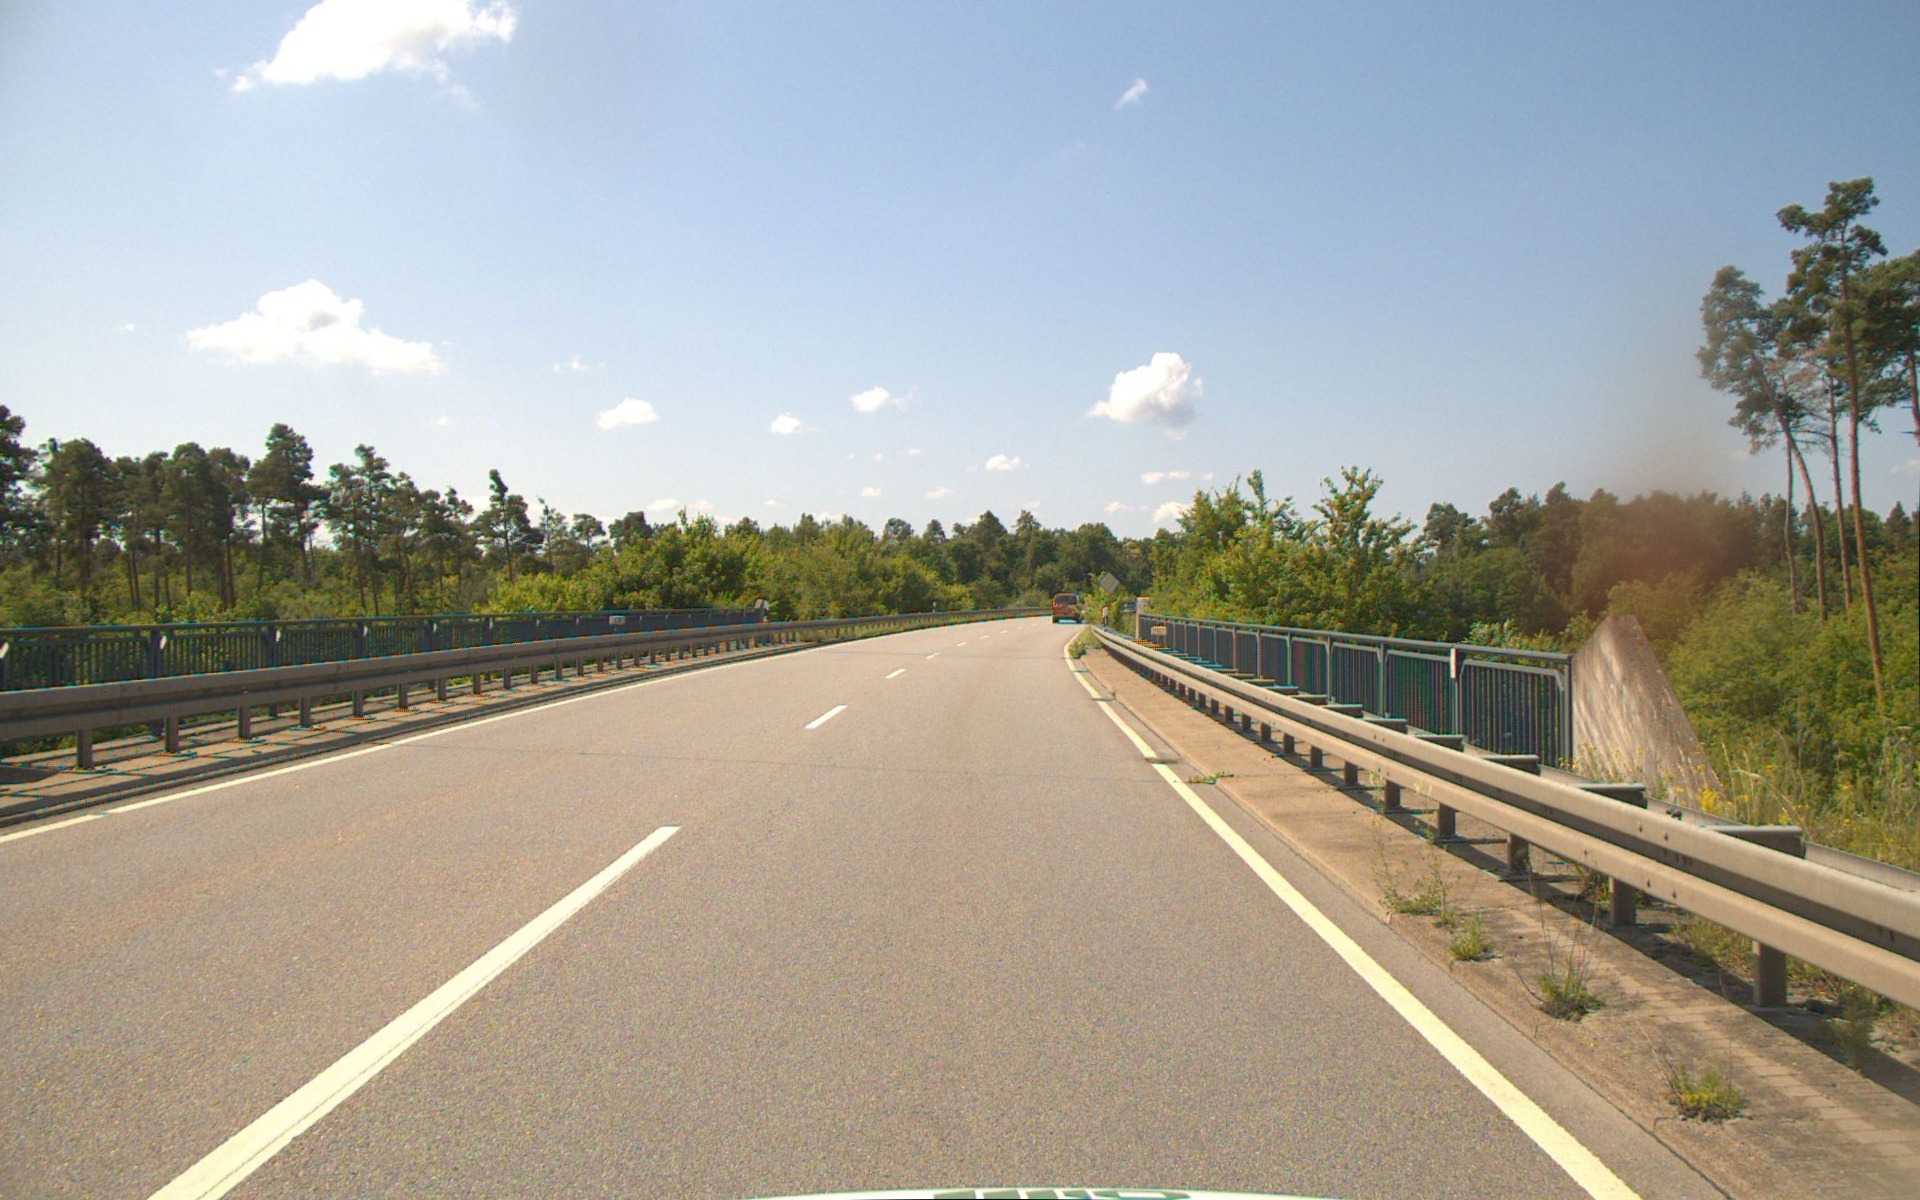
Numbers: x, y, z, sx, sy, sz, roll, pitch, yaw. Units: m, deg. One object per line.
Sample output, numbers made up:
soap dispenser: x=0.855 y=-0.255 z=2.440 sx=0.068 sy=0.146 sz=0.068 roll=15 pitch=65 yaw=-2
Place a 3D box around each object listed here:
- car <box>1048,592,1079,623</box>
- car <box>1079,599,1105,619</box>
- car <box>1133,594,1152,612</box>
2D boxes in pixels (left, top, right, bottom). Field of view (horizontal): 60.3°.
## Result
car: x=7.110 y=0.528 z=114.073 sx=2.034 sy=2.028 sz=5.113 roll=1 pitch=0 yaw=3
car: x=10.857 y=0.758 z=136.555 sx=1.965 sy=1.520 sz=4.240 roll=1 pitch=0 yaw=3
car: x=21.497 y=0.333 z=194.967 sx=2.138 sy=1.989 sz=5.807 roll=2 pitch=0 yaw=5
